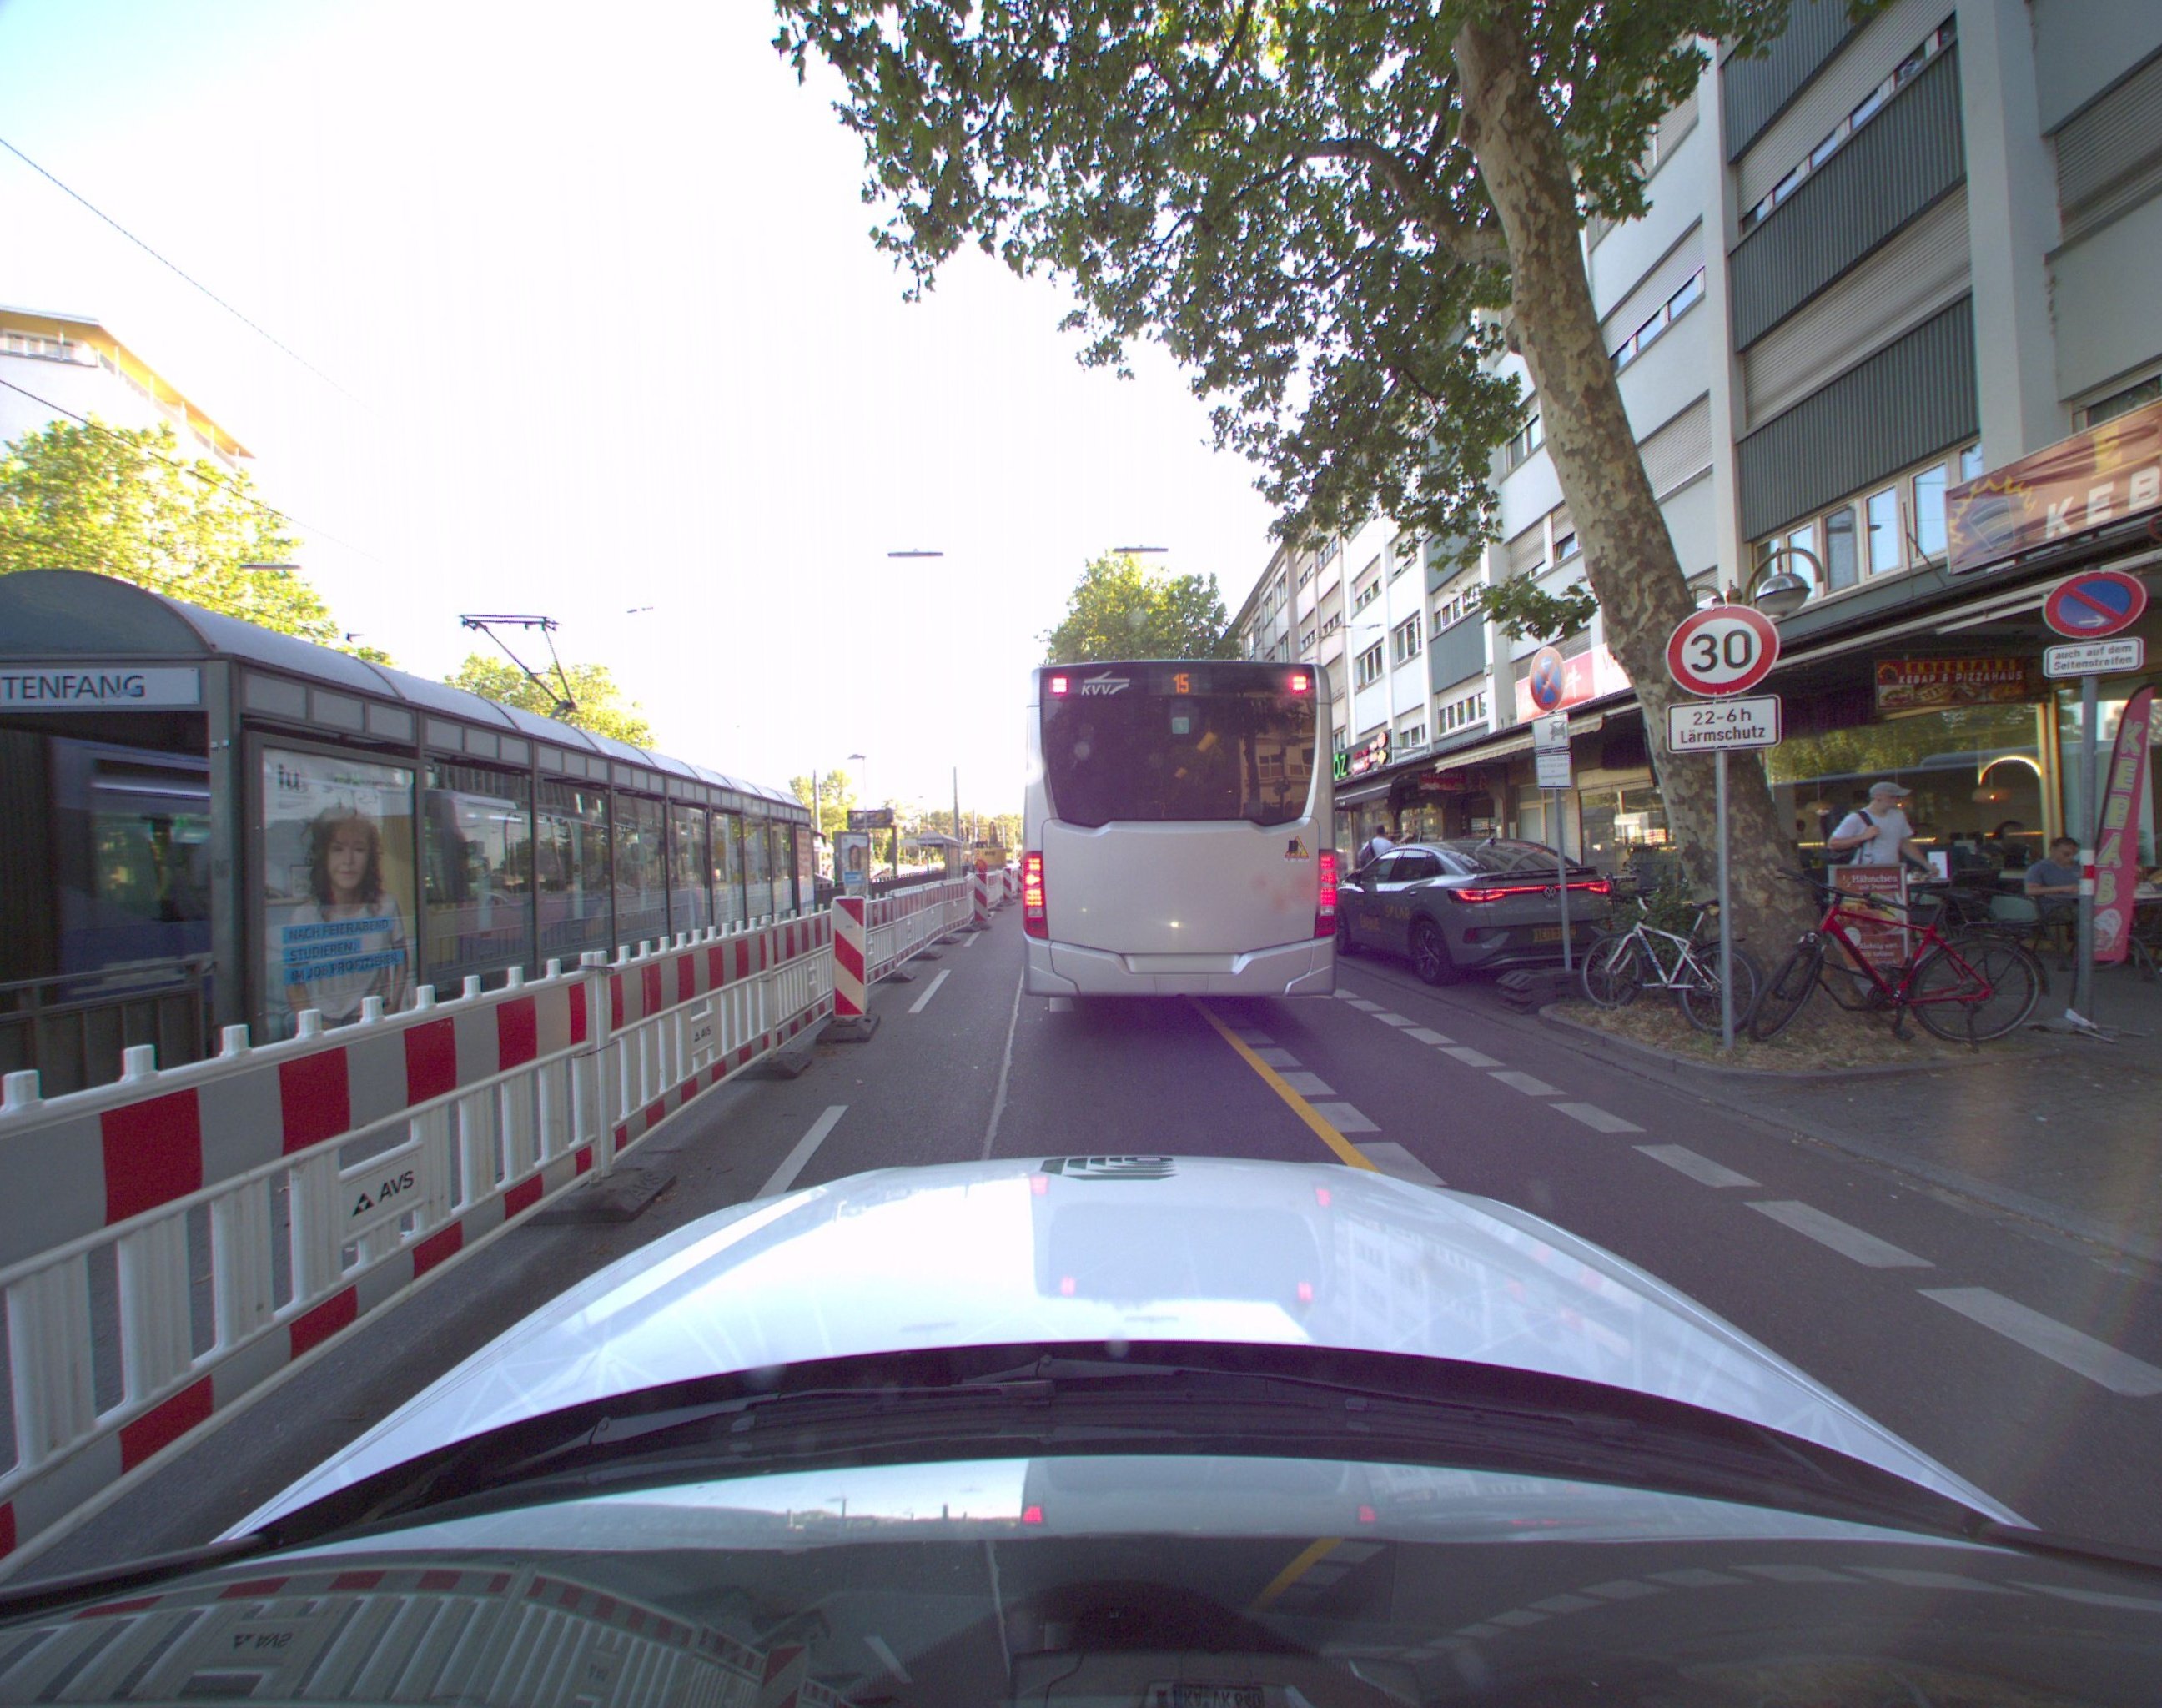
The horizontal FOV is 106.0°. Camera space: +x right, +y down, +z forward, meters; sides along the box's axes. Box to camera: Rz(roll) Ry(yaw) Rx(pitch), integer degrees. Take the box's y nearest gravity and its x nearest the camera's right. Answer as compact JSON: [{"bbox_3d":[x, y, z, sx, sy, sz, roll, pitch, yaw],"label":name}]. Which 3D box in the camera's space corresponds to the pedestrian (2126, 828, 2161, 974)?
[{"bbox_3d":[9.561,0.390,6.812,0.612,1.243,0.714,-5,-1,11],"label":"pedestrian"}]

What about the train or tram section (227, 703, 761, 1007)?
[{"bbox_3d":[-8.843,0.025,14.671,2.831,3.487,10.319,-2,0,-5],"label":"train or tram section"}]

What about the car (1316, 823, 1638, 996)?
[{"bbox_3d":[4.603,0.564,10.314,1.736,1.597,4.294,-4,0,-3],"label":"car"}]

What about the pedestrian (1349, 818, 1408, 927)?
[{"bbox_3d":[5.748,0.356,15.754,0.766,2.013,0.714,-3,-1,1],"label":"pedestrian"}]

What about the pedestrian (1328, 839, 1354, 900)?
[{"bbox_3d":[8.745,0.523,27.429,0.610,2.014,0.696,-2,-1,1],"label":"pedestrian"}]

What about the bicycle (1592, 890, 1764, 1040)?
[{"bbox_3d":[4.481,0.789,6.189,0.294,0.927,1.127,-6,2,-8],"label":"bicycle"}]

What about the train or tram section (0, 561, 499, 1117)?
[{"bbox_3d":[-8.178,-0.071,4.441,2.864,3.487,10.328,-2,0,-2],"label":"train or tram section"}]

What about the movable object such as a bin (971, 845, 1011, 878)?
[{"bbox_3d":[-7.052,0.597,64.006,2.800,2.462,3.995,-2,0,-3],"label":"movable object such as a bin"}]

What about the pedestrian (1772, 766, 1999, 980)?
[{"bbox_3d":[7.728,0.173,7.903,1.018,1.890,1.123,-2,-1,1],"label":"pedestrian"}]

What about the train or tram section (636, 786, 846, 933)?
[{"bbox_3d":[-9.715,0.169,24.909,2.812,3.487,10.320,-2,0,-5],"label":"train or tram section"}]

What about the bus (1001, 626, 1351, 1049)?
[{"bbox_3d":[0.917,-0.120,11.362,2.598,3.170,10.296,-1,0,2],"label":"bus"}]

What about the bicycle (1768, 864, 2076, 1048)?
[{"bbox_3d":[5.494,0.677,5.371,1.450,1.066,0.297,-6,2,13],"label":"bicycle"}]

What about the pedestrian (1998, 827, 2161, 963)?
[{"bbox_3d":[9.623,0.386,7.849,0.673,1.203,0.706,-5,-1,11],"label":"pedestrian"}]

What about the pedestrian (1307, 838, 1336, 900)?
[{"bbox_3d":[8.056,0.493,27.288,0.688,2.014,0.696,-2,-1,2],"label":"pedestrian"}]
